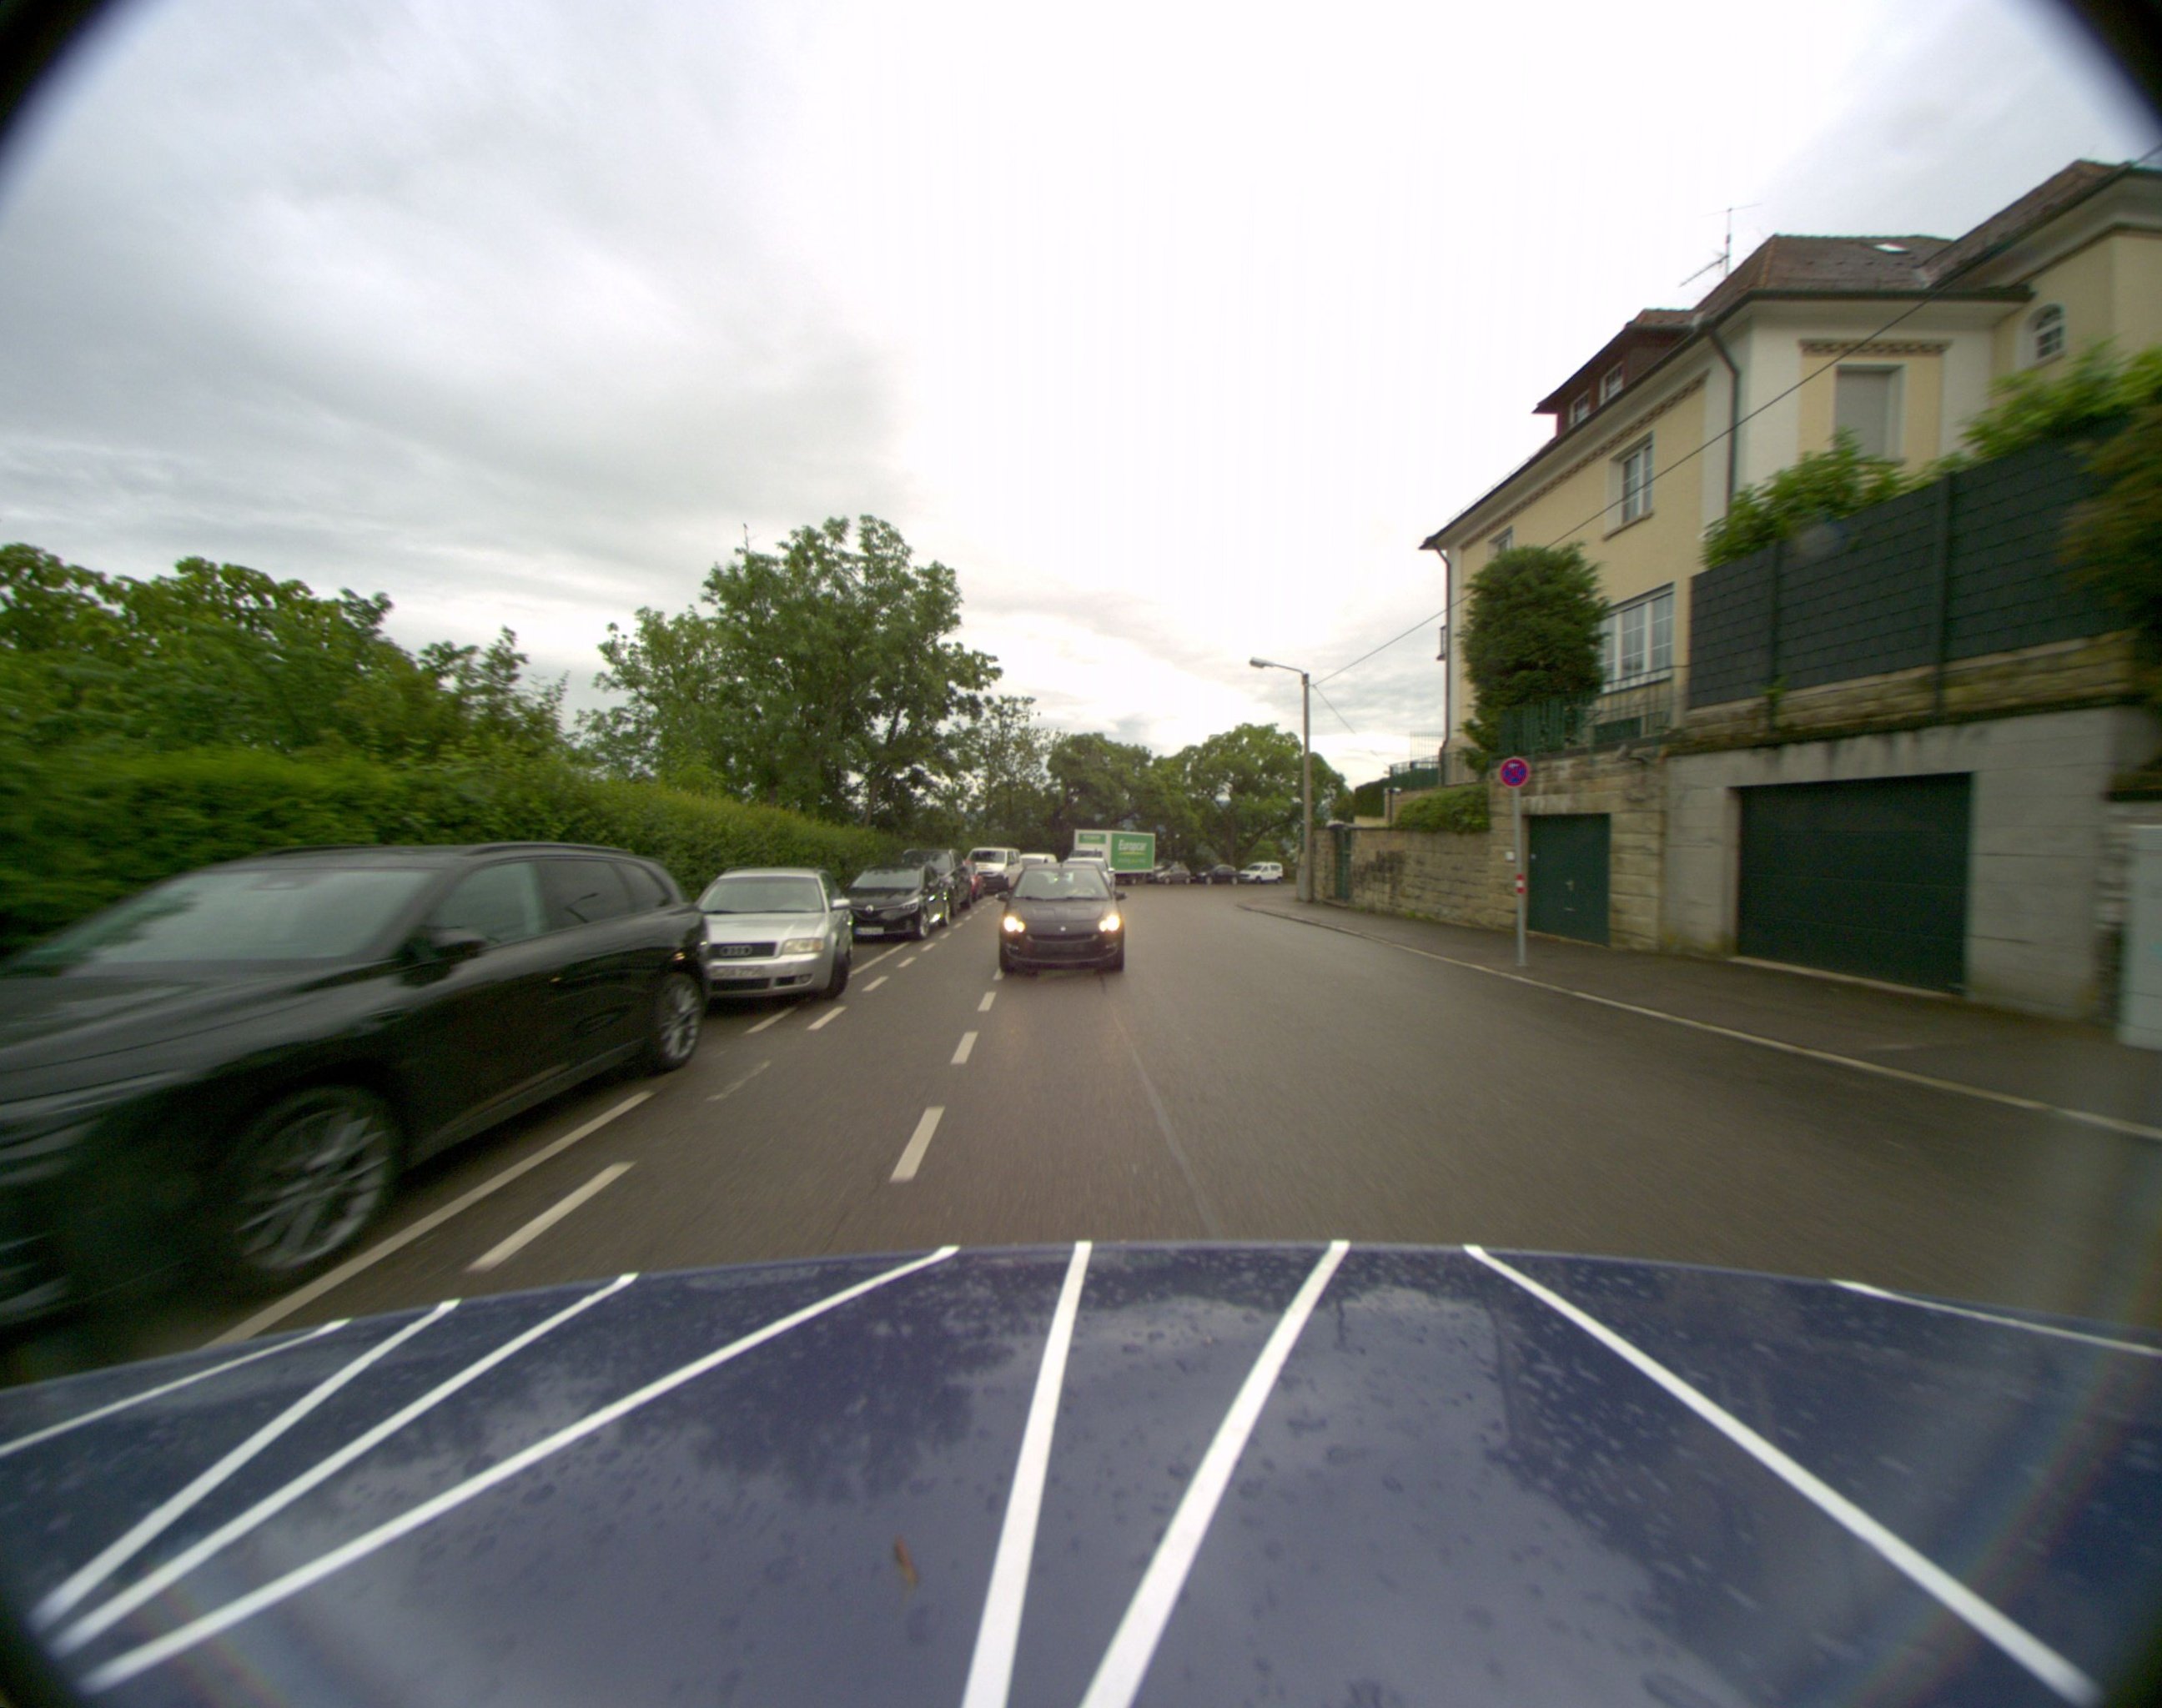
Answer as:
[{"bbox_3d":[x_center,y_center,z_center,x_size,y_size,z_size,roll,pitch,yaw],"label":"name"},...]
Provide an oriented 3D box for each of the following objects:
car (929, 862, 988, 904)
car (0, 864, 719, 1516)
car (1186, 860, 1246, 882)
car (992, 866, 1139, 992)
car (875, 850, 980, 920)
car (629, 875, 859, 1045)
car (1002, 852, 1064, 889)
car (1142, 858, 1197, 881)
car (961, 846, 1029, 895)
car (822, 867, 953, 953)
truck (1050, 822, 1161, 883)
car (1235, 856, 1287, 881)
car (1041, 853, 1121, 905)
[{"bbox_3d":[-4.318,0.993,27.289,1.675,1.405,3.741,0,0,-2],"label":"car"},{"bbox_3d":[-3.876,0.936,3.953,1.892,1.653,4.547,-2,0,-2],"label":"car"},{"bbox_3d":[10.450,1.293,58.628,4.906,1.533,1.860,2,0,-41],"label":"car"},{"bbox_3d":[-0.266,0.963,11.594,1.784,1.477,4.404,1,0,-2],"label":"car"},{"bbox_3d":[-4.189,0.799,21.622,2.032,1.772,4.898,0,0,0],"label":"car"},{"bbox_3d":[-3.829,1.050,9.473,1.806,1.431,4.636,-1,0,-14],"label":"car"},{"bbox_3d":[-2.403,0.825,38.995,1.862,1.760,4.384,0,-1,15],"label":"car"},{"bbox_3d":[6.391,1.136,54.652,1.734,1.494,4.145,3,1,42],"label":"car"},{"bbox_3d":[-3.661,0.669,33.206,1.863,1.936,4.810,2,0,6],"label":"car"},{"bbox_3d":[-3.797,1.037,15.587,1.693,1.414,3.982,0,1,-1],"label":"car"},{"bbox_3d":[1.762,-0.036,48.071,2.774,3.450,8.953,4,1,31],"label":"truck"},{"bbox_3d":[14.727,1.210,62.187,4.433,1.810,1.747,2,1,-40],"label":"car"},{"bbox_3d":[0.124,0.840,27.675,2.189,1.698,4.886,-1,0,8],"label":"car"}]
